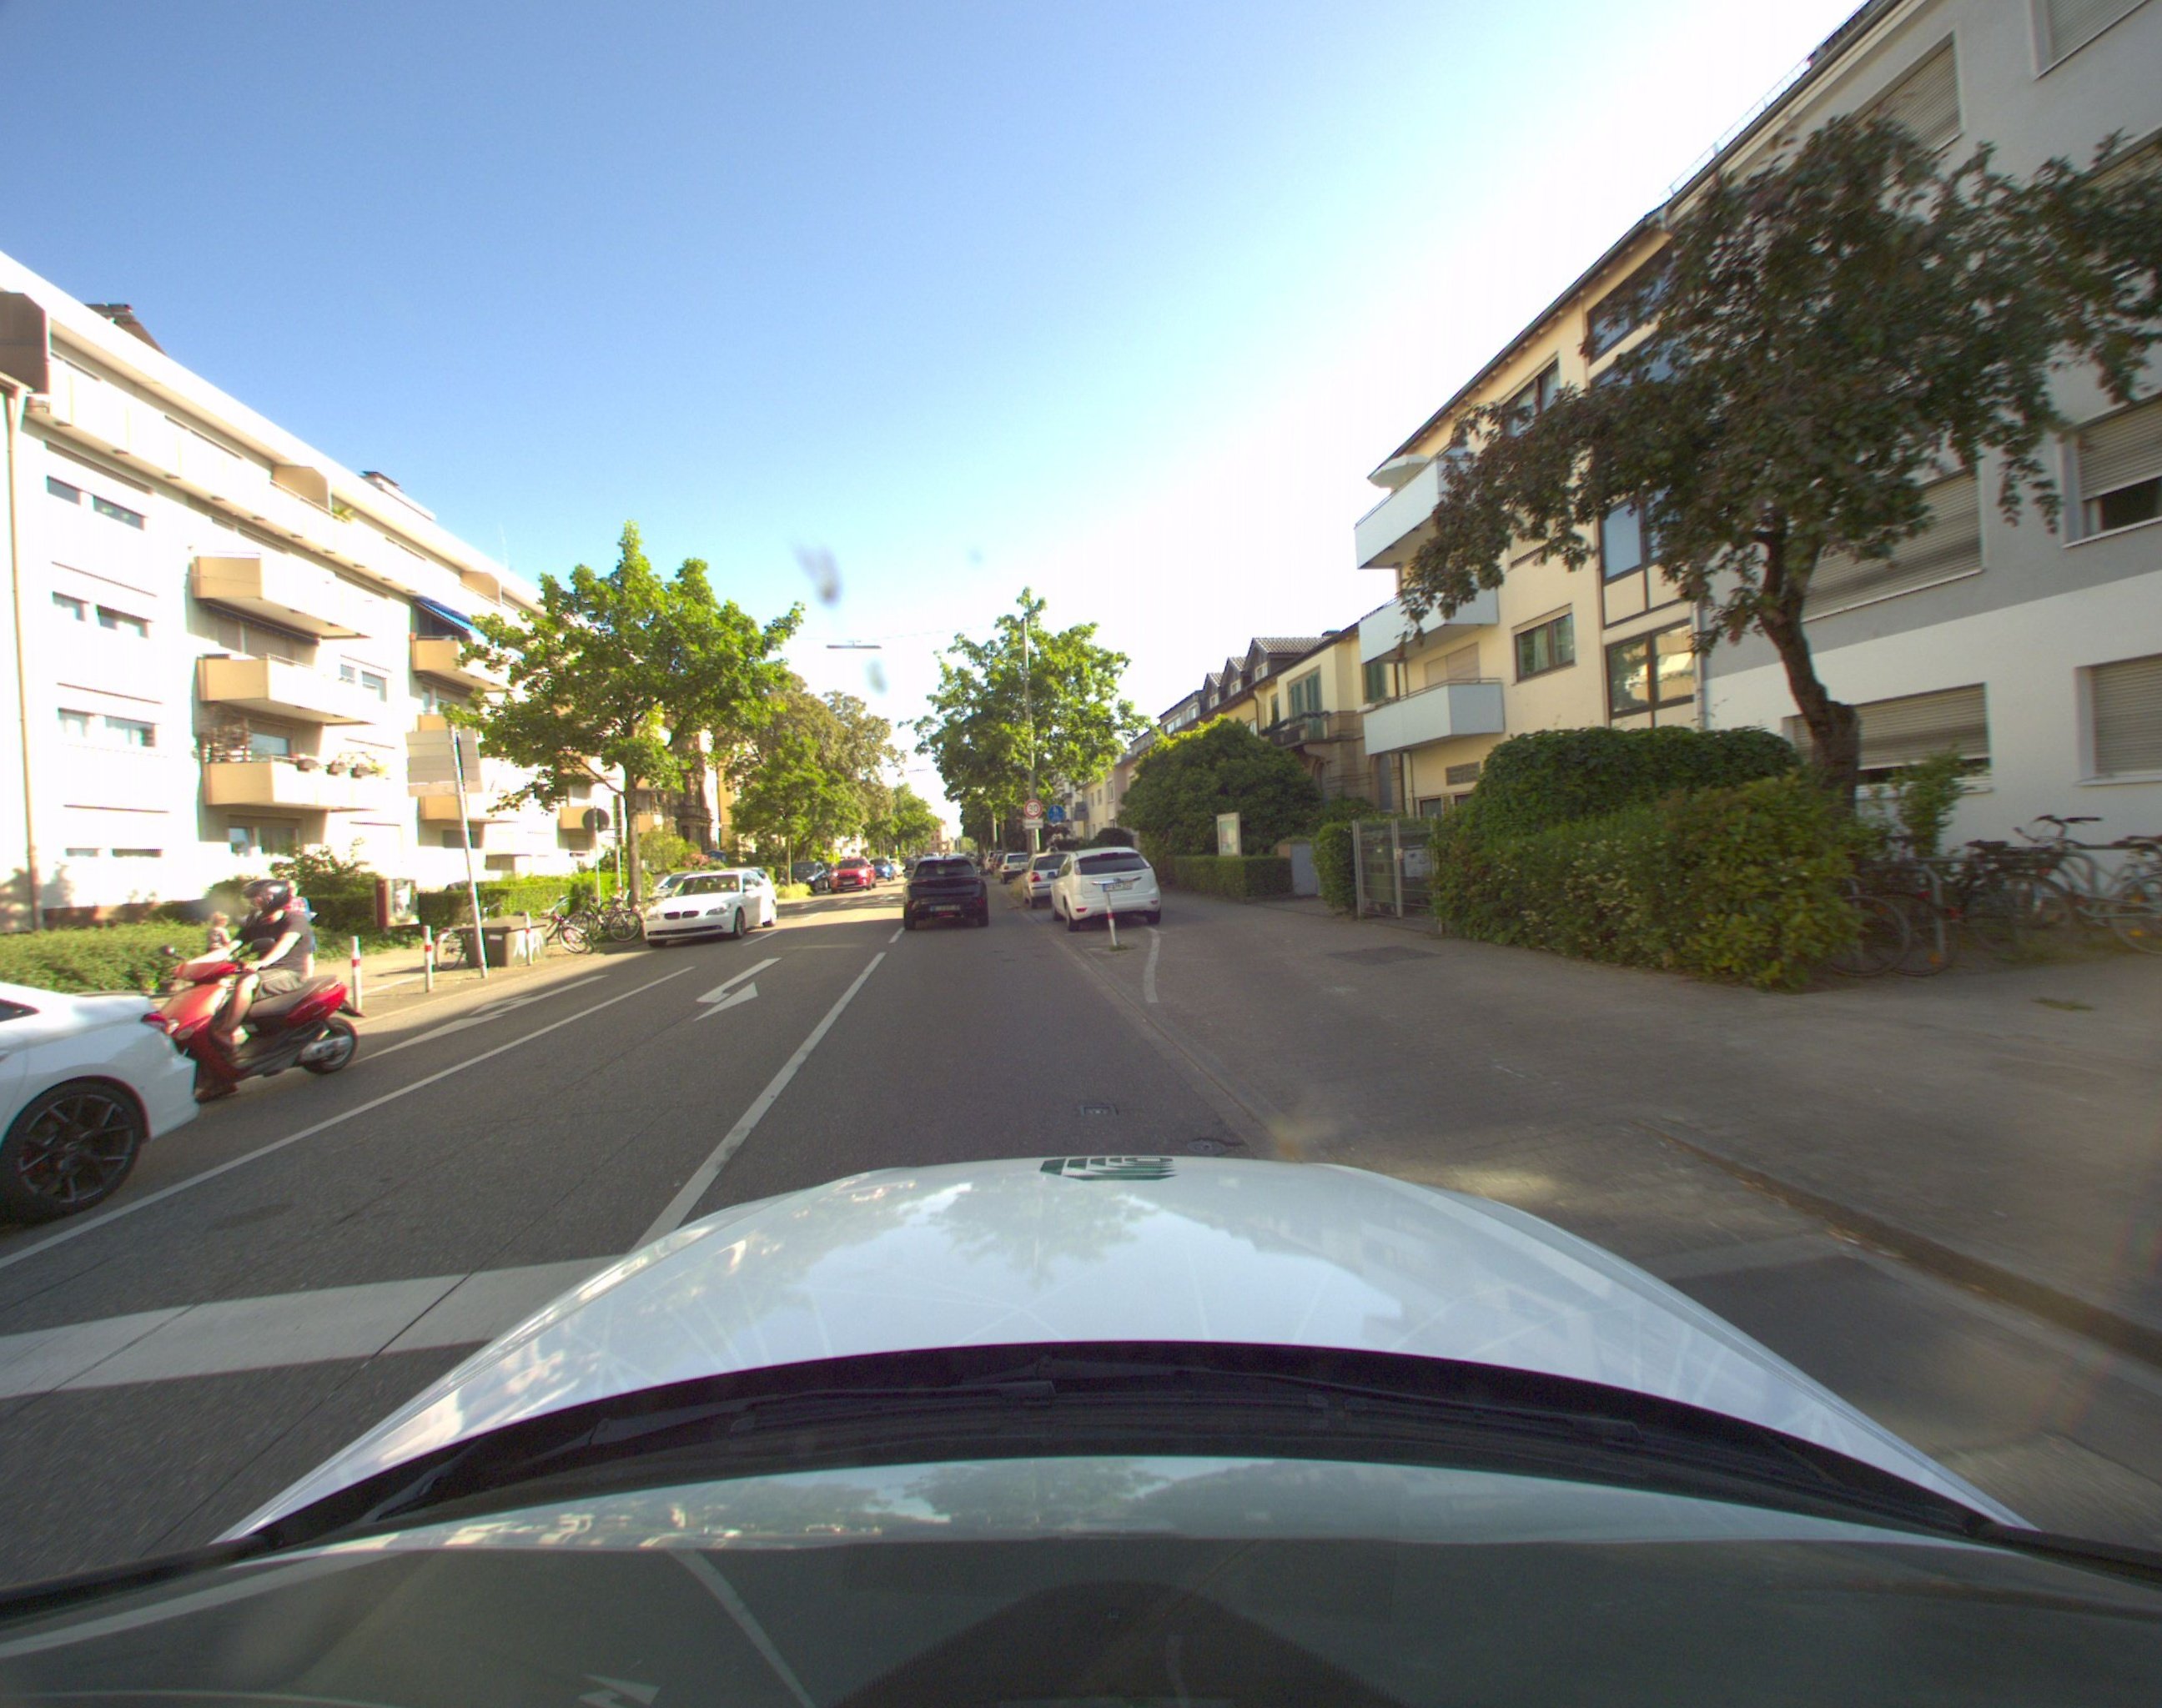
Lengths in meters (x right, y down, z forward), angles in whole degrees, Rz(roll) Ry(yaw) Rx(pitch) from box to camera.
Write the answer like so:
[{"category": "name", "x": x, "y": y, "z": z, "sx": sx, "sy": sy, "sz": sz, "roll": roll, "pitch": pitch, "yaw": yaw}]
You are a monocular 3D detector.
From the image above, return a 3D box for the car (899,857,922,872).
[{"category": "car", "x": -17.572, "y": 1.073, "z": 84.213, "sx": 1.808, "sy": 1.388, "sz": 4.239, "roll": -5, "pitch": 1, "yaw": -7}]

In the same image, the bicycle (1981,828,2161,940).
[{"category": "bicycle", "x": 9.367, "y": 0.250, "z": 7.388, "sx": 0.510, "sy": 0.940, "sz": 1.590, "roll": -3, "pitch": 0, "yaw": -6}]

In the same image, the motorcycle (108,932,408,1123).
[{"category": "motorcycle", "x": -6.589, "y": 1.320, "z": 6.679, "sx": 0.746, "sy": 1.134, "sz": 1.680, "roll": -5, "pitch": 0, "yaw": -6}]

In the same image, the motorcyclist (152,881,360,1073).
[{"category": "motorcyclist", "x": -6.610, "y": 0.944, "z": 6.581, "sx": 0.754, "sy": 1.356, "sz": 0.790, "roll": -5, "pitch": 0, "yaw": -6}]

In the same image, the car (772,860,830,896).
[{"category": "car", "x": -14.252, "y": 1.174, "z": 41.639, "sx": 1.808, "sy": 1.558, "sz": 4.239, "roll": -5, "pitch": 0, "yaw": -7}]

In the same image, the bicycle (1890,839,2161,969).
[{"category": "bicycle", "x": 7.919, "y": 0.370, "z": 6.841, "sx": 0.510, "sy": 0.940, "sz": 1.590, "roll": -3, "pitch": 0, "yaw": -6}]

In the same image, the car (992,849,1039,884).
[{"category": "car", "x": -3.237, "y": 0.577, "z": 39.578, "sx": 1.909, "sy": 1.429, "sz": 3.987, "roll": -6, "pitch": 1, "yaw": -9}]

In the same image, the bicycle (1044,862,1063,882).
[{"category": "bicycle", "x": -1.240, "y": 0.804, "z": 36.809, "sx": 0.553, "sy": 0.833, "sz": 2.125, "roll": -3, "pitch": 1, "yaw": -9}]

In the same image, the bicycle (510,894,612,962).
[{"category": "bicycle", "x": -10.056, "y": 1.434, "z": 15.752, "sx": 1.563, "sy": 1.159, "sz": 0.450, "roll": -3, "pitch": 15, "yaw": 14}]

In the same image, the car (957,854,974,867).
[{"category": "car", "x": -13.908, "y": 0.789, "z": 98.014, "sx": 1.837, "sy": 1.433, "sz": 4.162, "roll": -3, "pitch": 0, "yaw": -10}]

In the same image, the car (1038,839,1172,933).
[{"category": "car", "x": 0.343, "y": 0.562, "z": 16.492, "sx": 1.909, "sy": 1.519, "sz": 3.987, "roll": -4, "pitch": 0, "yaw": -9}]

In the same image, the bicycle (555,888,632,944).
[{"category": "bicycle", "x": -10.958, "y": 1.401, "z": 18.316, "sx": 1.563, "sy": 1.162, "sz": 0.449, "roll": -3, "pitch": -8, "yaw": 14}]

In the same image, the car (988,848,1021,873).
[{"category": "car", "x": -5.317, "y": 0.443, "z": 56.309, "sx": 1.909, "sy": 1.429, "sz": 3.987, "roll": -6, "pitch": 1, "yaw": -9}]

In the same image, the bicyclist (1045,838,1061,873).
[{"category": "bicyclist", "x": -1.279, "y": 0.075, "z": 36.804, "sx": 0.553, "sy": 1.548, "sz": 0.812, "roll": -3, "pitch": 1, "yaw": -10}]

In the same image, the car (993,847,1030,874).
[{"category": "car", "x": -4.470, "y": 0.398, "z": 51.882, "sx": 1.909, "sy": 1.429, "sz": 3.987, "roll": -6, "pitch": 1, "yaw": -9}]

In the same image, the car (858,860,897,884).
[{"category": "car", "x": -13.183, "y": 1.124, "z": 53.049, "sx": 1.808, "sy": 1.282, "sz": 4.239, "roll": -5, "pitch": 1, "yaw": -7}]

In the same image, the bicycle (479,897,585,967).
[{"category": "bicycle", "x": -10.237, "y": 1.454, "z": 15.193, "sx": 1.563, "sy": 1.159, "sz": 0.450, "roll": -3, "pitch": 15, "yaw": 14}]

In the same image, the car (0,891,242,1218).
[{"category": "car", "x": -5.819, "y": 1.067, "z": 2.698, "sx": 1.928, "sy": 1.435, "sz": 4.254, "roll": -7, "pitch": 1, "yaw": -9}]

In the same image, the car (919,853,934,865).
[{"category": "car", "x": -22.009, "y": 0.688, "z": 116.136, "sx": 1.808, "sy": 1.388, "sz": 4.238, "roll": -5, "pitch": 1, "yaw": -7}]

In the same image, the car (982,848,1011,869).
[{"category": "car", "x": -6.523, "y": 0.347, "z": 62.860, "sx": 1.909, "sy": 1.429, "sz": 3.987, "roll": -6, "pitch": 1, "yaw": -9}]

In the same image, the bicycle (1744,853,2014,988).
[{"category": "bicycle", "x": 6.422, "y": 0.481, "z": 6.683, "sx": 0.510, "sy": 0.940, "sz": 1.590, "roll": -3, "pitch": 0, "yaw": -6}]

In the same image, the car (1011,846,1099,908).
[{"category": "car", "x": -0.835, "y": 0.608, "z": 23.247, "sx": 1.909, "sy": 1.429, "sz": 3.987, "roll": -6, "pitch": 1, "yaw": -9}]

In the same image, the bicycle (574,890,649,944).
[{"category": "bicycle", "x": -10.822, "y": 1.455, "z": 18.777, "sx": 1.563, "sy": 1.162, "sz": 0.449, "roll": -3, "pitch": -8, "yaw": 14}]

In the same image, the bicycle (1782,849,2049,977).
[{"category": "bicycle", "x": 7.011, "y": 0.447, "z": 6.967, "sx": 0.510, "sy": 0.940, "sz": 1.590, "roll": -3, "pitch": 0, "yaw": -6}]

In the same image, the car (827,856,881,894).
[{"category": "car", "x": -11.102, "y": 0.974, "z": 40.056, "sx": 1.808, "sy": 1.558, "sz": 4.239, "roll": -5, "pitch": 1, "yaw": -7}]

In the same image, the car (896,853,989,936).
[{"category": "car", "x": -3.020, "y": 0.798, "z": 18.343, "sx": 1.761, "sy": 1.558, "sz": 3.990, "roll": -3, "pitch": 0, "yaw": -7}]

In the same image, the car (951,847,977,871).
[{"category": "car", "x": -8.061, "y": 0.363, "z": 56.237, "sx": 1.590, "sy": 1.566, "sz": 4.079, "roll": -3, "pitch": 0, "yaw": -6}]

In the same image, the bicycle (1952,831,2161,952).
[{"category": "bicycle", "x": 8.753, "y": 0.298, "z": 7.081, "sx": 0.510, "sy": 0.940, "sz": 1.590, "roll": -3, "pitch": 0, "yaw": -6}]

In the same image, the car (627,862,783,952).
[{"category": "car", "x": -8.211, "y": 1.061, "z": 18.238, "sx": 1.808, "sy": 1.558, "sz": 4.239, "roll": -5, "pitch": 1, "yaw": -7}]

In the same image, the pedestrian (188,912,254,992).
[{"category": "pedestrian", "x": -13.326, "y": 1.503, "z": 12.632, "sx": 0.384, "sy": 1.146, "sz": 0.531, "roll": -3, "pitch": 0, "yaw": -2}]

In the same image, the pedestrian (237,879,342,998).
[{"category": "pedestrian", "x": -12.063, "y": 1.256, "z": 12.449, "sx": 0.572, "sy": 1.683, "sz": 0.967, "roll": -3, "pitch": 0, "yaw": -3}]
